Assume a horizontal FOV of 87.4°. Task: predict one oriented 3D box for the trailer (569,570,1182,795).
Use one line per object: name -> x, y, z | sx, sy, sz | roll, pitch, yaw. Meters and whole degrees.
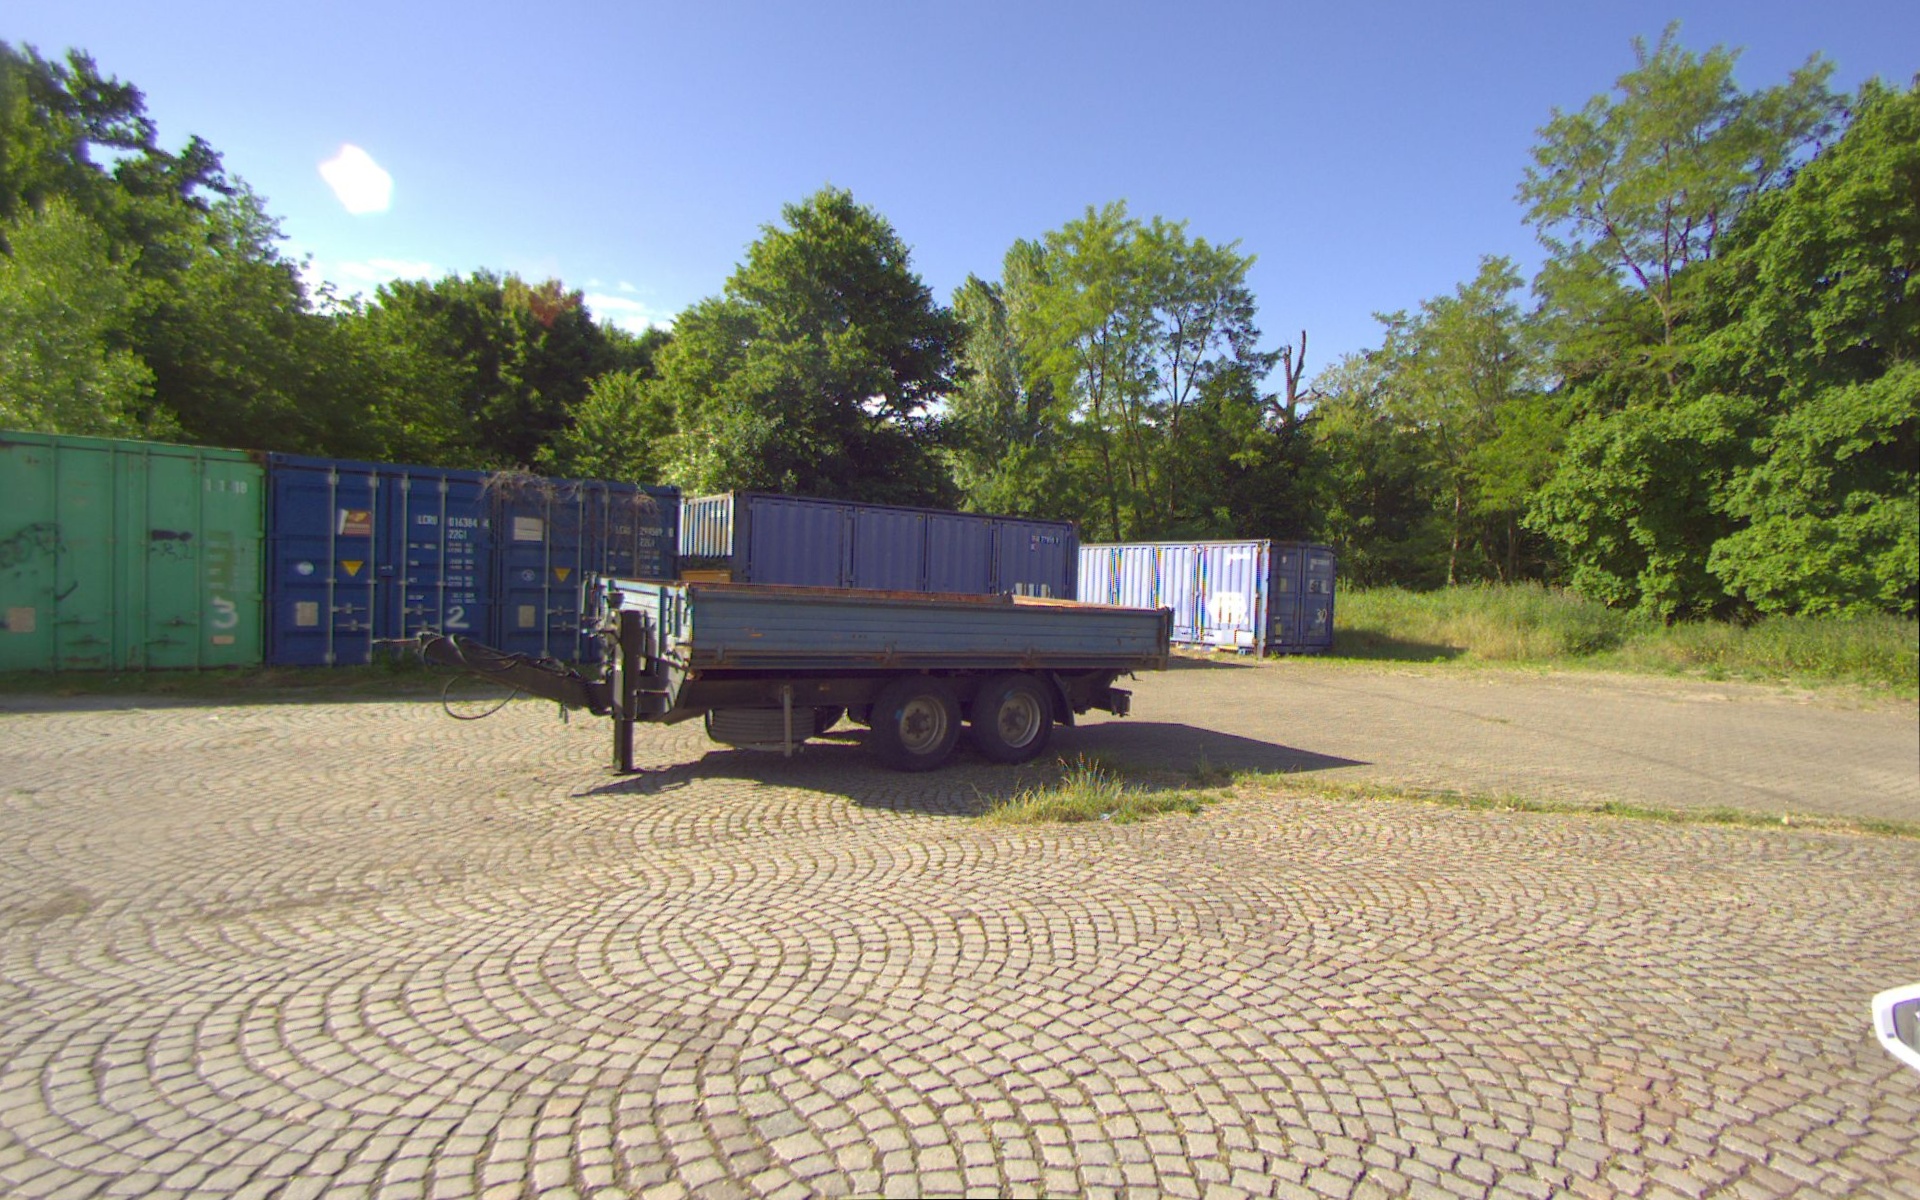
trailer -> -0.681, 0.593, 9.020 | 4.812, 1.433, 2.624 | 2, 1, -34
